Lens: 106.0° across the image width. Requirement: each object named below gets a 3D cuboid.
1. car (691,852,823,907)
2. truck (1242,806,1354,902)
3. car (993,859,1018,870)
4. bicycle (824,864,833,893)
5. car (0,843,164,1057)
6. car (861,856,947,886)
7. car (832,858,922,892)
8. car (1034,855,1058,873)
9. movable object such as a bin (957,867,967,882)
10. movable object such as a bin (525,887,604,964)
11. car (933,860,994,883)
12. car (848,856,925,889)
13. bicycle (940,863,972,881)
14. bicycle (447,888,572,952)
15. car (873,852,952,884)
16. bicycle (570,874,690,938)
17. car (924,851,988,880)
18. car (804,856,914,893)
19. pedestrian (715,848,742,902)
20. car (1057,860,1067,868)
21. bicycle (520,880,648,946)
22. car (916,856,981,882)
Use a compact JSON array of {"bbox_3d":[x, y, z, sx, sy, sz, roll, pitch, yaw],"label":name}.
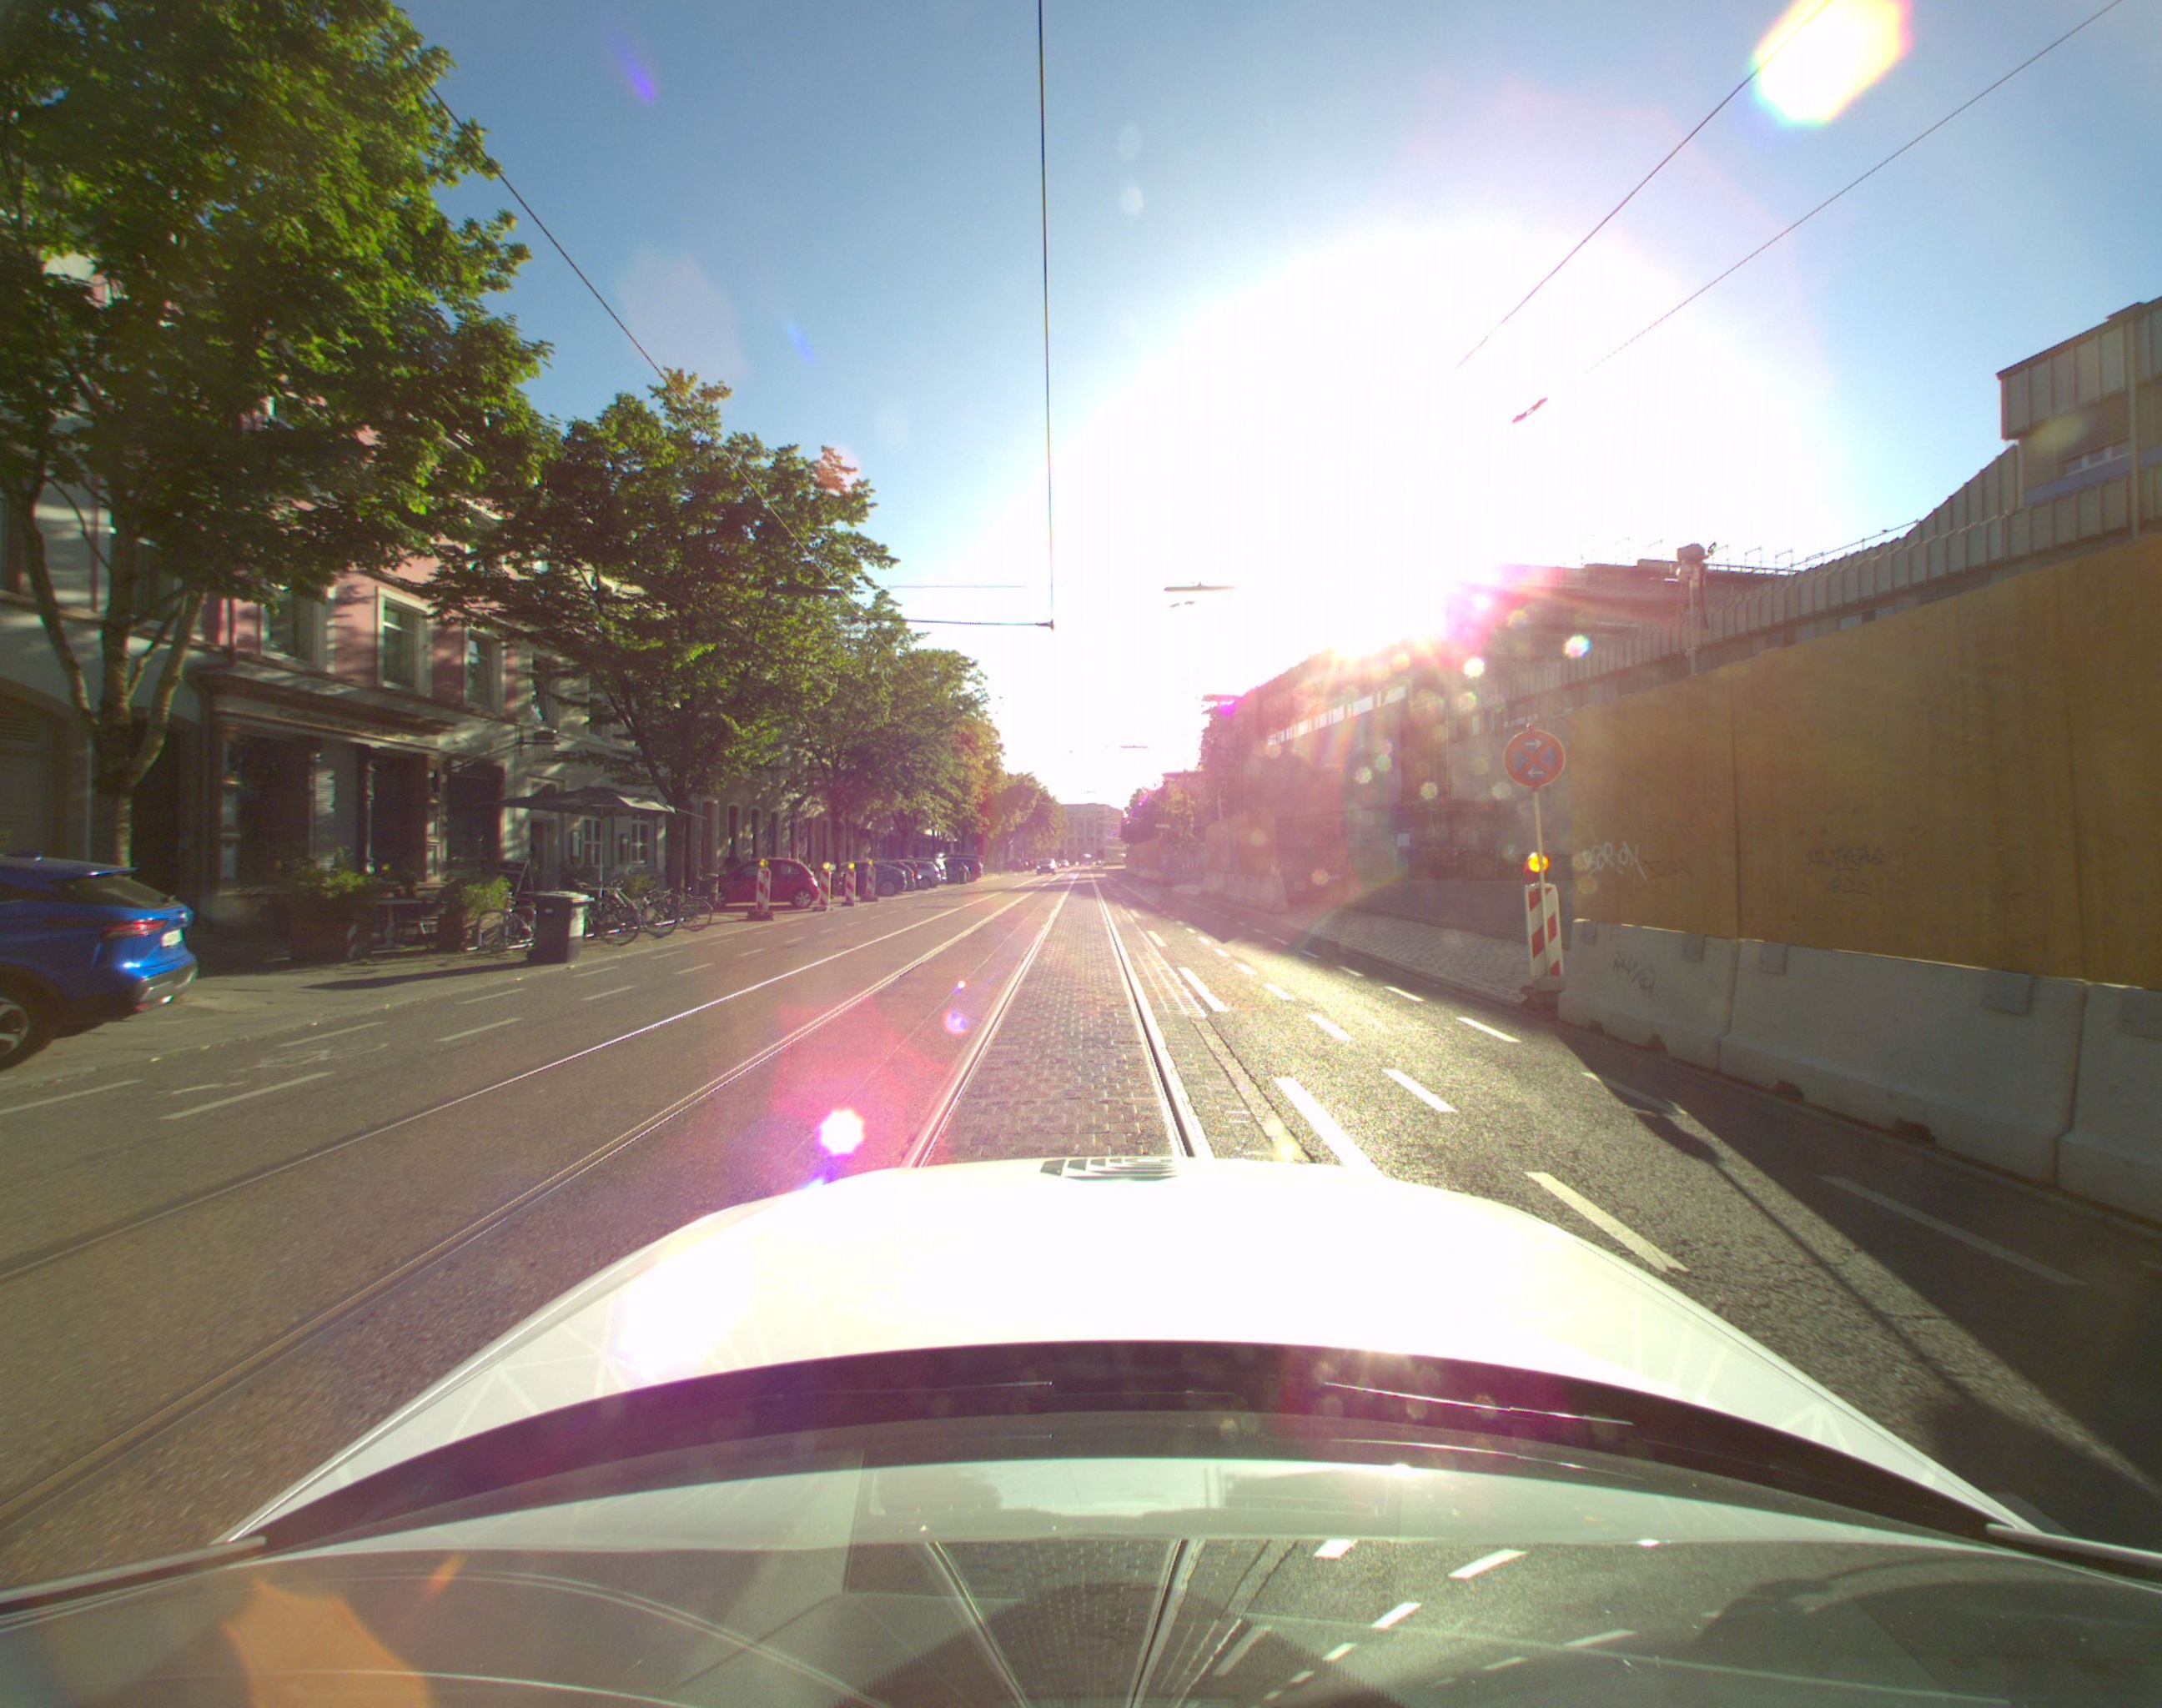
[{"bbox_3d":[-9.952,0.773,25.054,3.631,1.553,1.655,2,1,-26],"label":"car"},{"bbox_3d":[7.470,0.011,28.766,2.510,2.909,5.509,-3,0,2],"label":"truck"},{"bbox_3d":[-9.528,1.321,102.626,2.950,1.332,1.204,-1,0,-28],"label":"car"},{"bbox_3d":[-9.963,0.958,32.121,0.333,1.095,1.585,-1,0,-17],"label":"bicycle"},{"bbox_3d":[-9.774,0.686,5.855,3.919,1.609,1.556,2,-2,-37],"label":"car"},{"bbox_3d":[-9.379,0.905,43.173,4.125,1.512,1.825,2,0,-27],"label":"car"},{"bbox_3d":[-9.368,0.977,37.414,3.693,1.470,1.737,2,-1,-29],"label":"car"},{"bbox_3d":[-3.554,0.961,83.351,1.920,1.629,4.252,-3,1,2],"label":"car"},{"bbox_3d":[-7.702,1.310,52.658,0.576,0.913,0.572,2,0,-16],"label":"movable object such as a bin"},{"bbox_3d":[-7.899,1.076,12.484,0.681,1.078,0.710,3,0,1],"label":"movable object such as a bin"},{"bbox_3d":[-7.959,1.148,55.189,3.866,1.476,1.832,-1,0,-18],"label":"car"},{"bbox_3d":[-9.592,0.914,40.233,3.381,1.493,1.599,2,0,-28],"label":"car"},{"bbox_3d":[-8.183,1.190,53.344,1.971,1.144,0.489,2,-1,-18],"label":"bicycle"},{"bbox_3d":[-9.161,1.061,13.098,1.600,0.988,0.387,1,0,-11],"label":"bicycle"},{"bbox_3d":[-9.600,0.794,46.635,4.094,1.678,1.839,2,-1,-3],"label":"car"},{"bbox_3d":[-8.904,1.019,16.107,1.995,1.087,0.568,4,0,2],"label":"bicycle"},{"bbox_3d":[-9.244,0.857,60.224,4.370,1.986,1.935,2,-1,-22],"label":"car"},{"bbox_3d":[-9.474,0.875,34.824,4.211,1.491,1.927,2,0,-27],"label":"car"},{"bbox_3d":[-13.289,0.773,30.712,0.728,2.014,0.556,0,-1,1],"label":"pedestrian"},{"bbox_3d":[-3.468,1.845,147.806,1.704,1.436,4.169,0,0,-1],"label":"car"},{"bbox_3d":[-9.000,1.061,14.779,1.960,1.079,0.569,2,0,2],"label":"bicycle"},{"bbox_3d":[-9.367,1.046,57.633,4.250,1.685,1.798,-1,0,-21],"label":"car"}]
